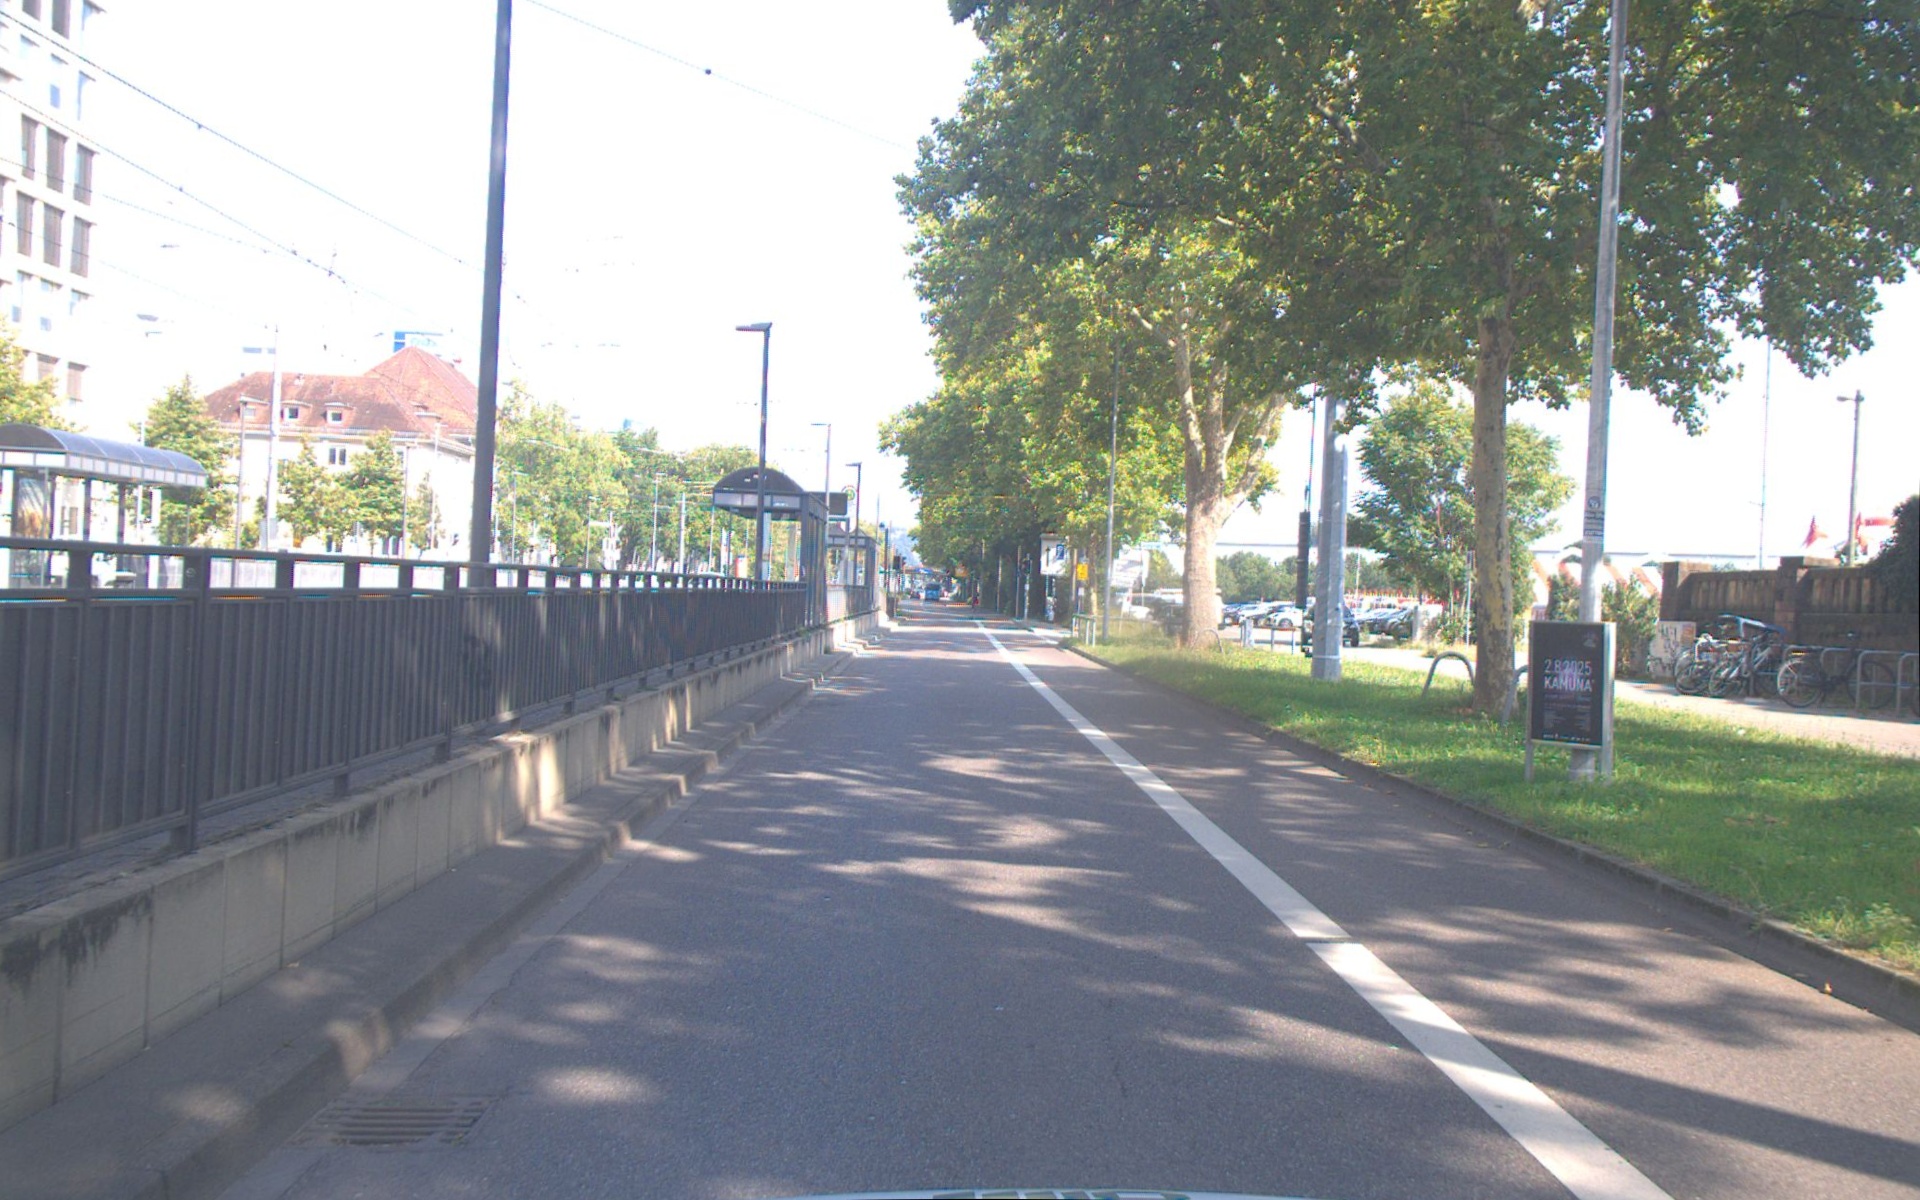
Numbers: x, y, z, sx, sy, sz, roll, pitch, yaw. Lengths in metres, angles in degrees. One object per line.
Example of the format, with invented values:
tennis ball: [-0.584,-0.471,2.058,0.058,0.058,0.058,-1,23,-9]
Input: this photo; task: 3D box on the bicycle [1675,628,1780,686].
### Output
bicycle: [13.573,1.000,29.265,1.622,0.986,0.506,0,0,1]

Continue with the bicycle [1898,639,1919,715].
bicycle: [13.468,1.033,22.041,1.621,0.986,0.506,0,0,4]

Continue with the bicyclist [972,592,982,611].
bicyclist: [1.352,0.100,133.534,0.691,1.486,1.009,3,0,-1]

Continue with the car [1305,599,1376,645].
car: [15.107,0.855,65.501,1.689,1.708,4.243,2,0,27]

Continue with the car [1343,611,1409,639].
car: [25.657,1.515,102.070,3.695,1.471,1.528,3,0,5]

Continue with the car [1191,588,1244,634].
car: [12.246,0.483,78.804,1.687,2.084,4.461,2,0,-1]

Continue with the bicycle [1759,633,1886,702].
bicycle: [12.947,1.007,24.846,1.621,0.986,0.506,0,0,4]

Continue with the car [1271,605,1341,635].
car: [19.770,1.151,94.542,3.695,1.471,1.528,3,0,5]

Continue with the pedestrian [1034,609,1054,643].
pedestrian: [4.155,1.260,81.747,0.614,1.645,0.842,2,0,36]

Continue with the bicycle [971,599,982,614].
bicycle: [1.327,0.509,133.517,0.700,1.127,2.508,3,0,-1]

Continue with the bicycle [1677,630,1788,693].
bicycle: [13.004,1.020,27.888,0.502,0.986,1.636,0,0,-42]

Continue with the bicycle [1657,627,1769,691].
bicycle: [12.480,0.968,27.440,0.502,0.986,1.636,0,0,-42]
